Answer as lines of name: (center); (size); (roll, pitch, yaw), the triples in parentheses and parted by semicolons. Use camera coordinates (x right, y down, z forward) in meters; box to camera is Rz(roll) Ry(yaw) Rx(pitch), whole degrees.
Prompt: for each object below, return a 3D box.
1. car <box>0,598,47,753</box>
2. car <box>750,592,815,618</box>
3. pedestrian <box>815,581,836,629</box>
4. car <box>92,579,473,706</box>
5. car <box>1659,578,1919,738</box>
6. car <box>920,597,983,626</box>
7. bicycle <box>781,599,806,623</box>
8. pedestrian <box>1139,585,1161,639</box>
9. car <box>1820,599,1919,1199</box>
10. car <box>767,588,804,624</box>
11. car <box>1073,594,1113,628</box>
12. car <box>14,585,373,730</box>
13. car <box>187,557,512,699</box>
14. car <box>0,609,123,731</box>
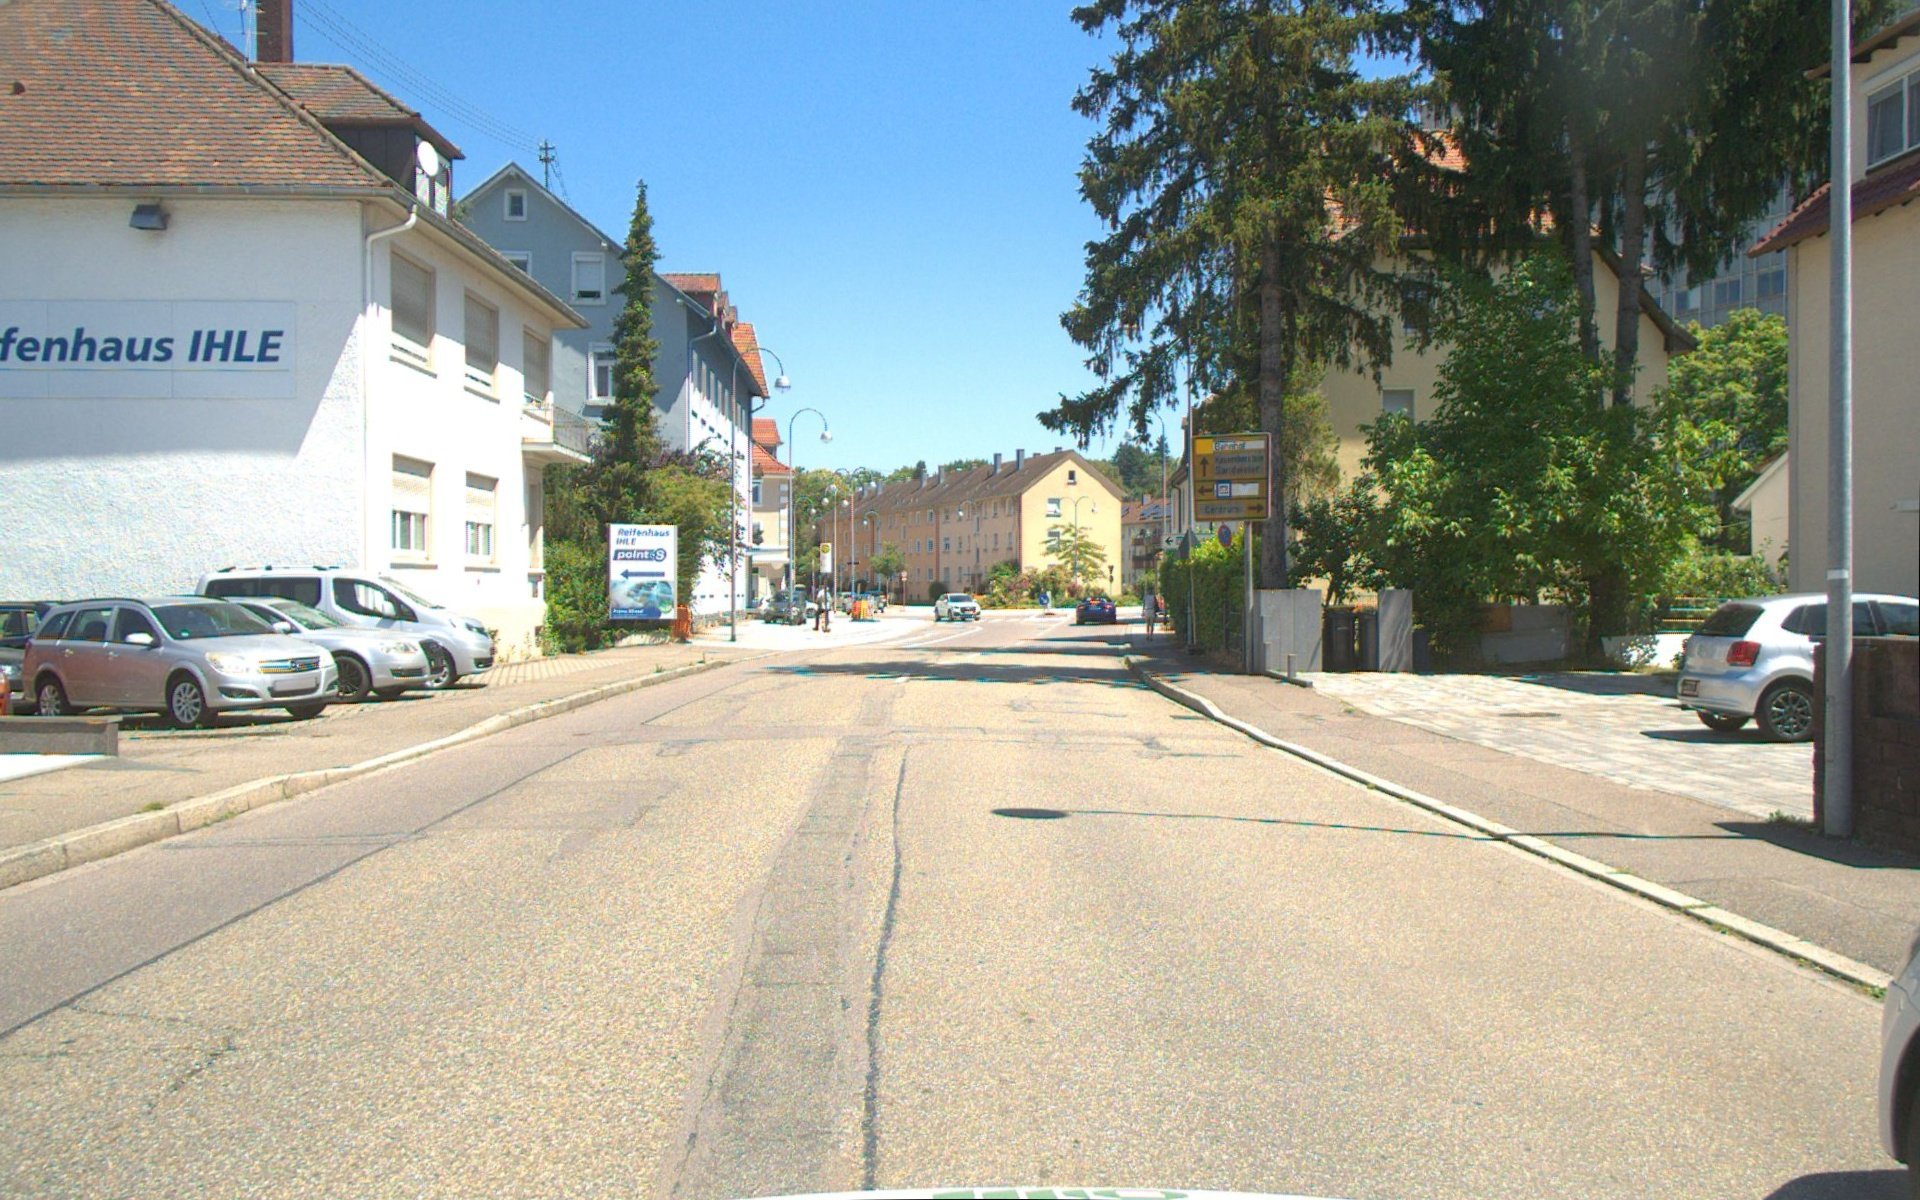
car: (-12.162, 0.877, 19.153); (1.838, 1.673, 4.141); (-3, 1, -43)
car: (-11.108, 0.303, 103.577); (4.036, 1.578, 1.785); (1, 0, -6)
pedestrian: (-5.434, 0.208, 66.803); (0.740, 1.880, 0.771); (3, 0, -2)
car: (-9.234, 0.552, 22.814); (4.379, 1.521, 1.976); (-2, 1, 1)
car: (9.372, 0.594, 17.121); (3.543, 1.557, 1.778); (1, -1, 3)
car: (-0.529, 0.678, 94.215); (1.804, 1.557, 3.905); (1, -2, -33)
bicycle: (-7.216, 0.484, 71.564); (0.485, 0.994, 1.974); (4, 0, 10)
pedestrian: (5.912, 0.375, 51.479); (0.610, 1.673, 0.772); (0, 0, 2)
car: (3.118, 0.766, 2.418); (1.650, 1.480, 3.738); (1, 0, -2)
car: (-7.949, 0.293, 75.484); (1.546, 1.561, 3.772); (0, -1, -4)
car: (6.333, 0.534, 79.058); (1.831, 1.557, 4.508); (0, -1, 4)
car: (-9.175, 0.663, 19.732); (4.183, 1.521, 1.872); (-2, 1, 32)
car: (-9.204, 0.394, 25.264); (4.269, 1.910, 1.847); (-2, 0, -7)
car: (-14.267, 1.072, 22.754); (4.380, 1.521, 1.976); (-5, 1, 1)
